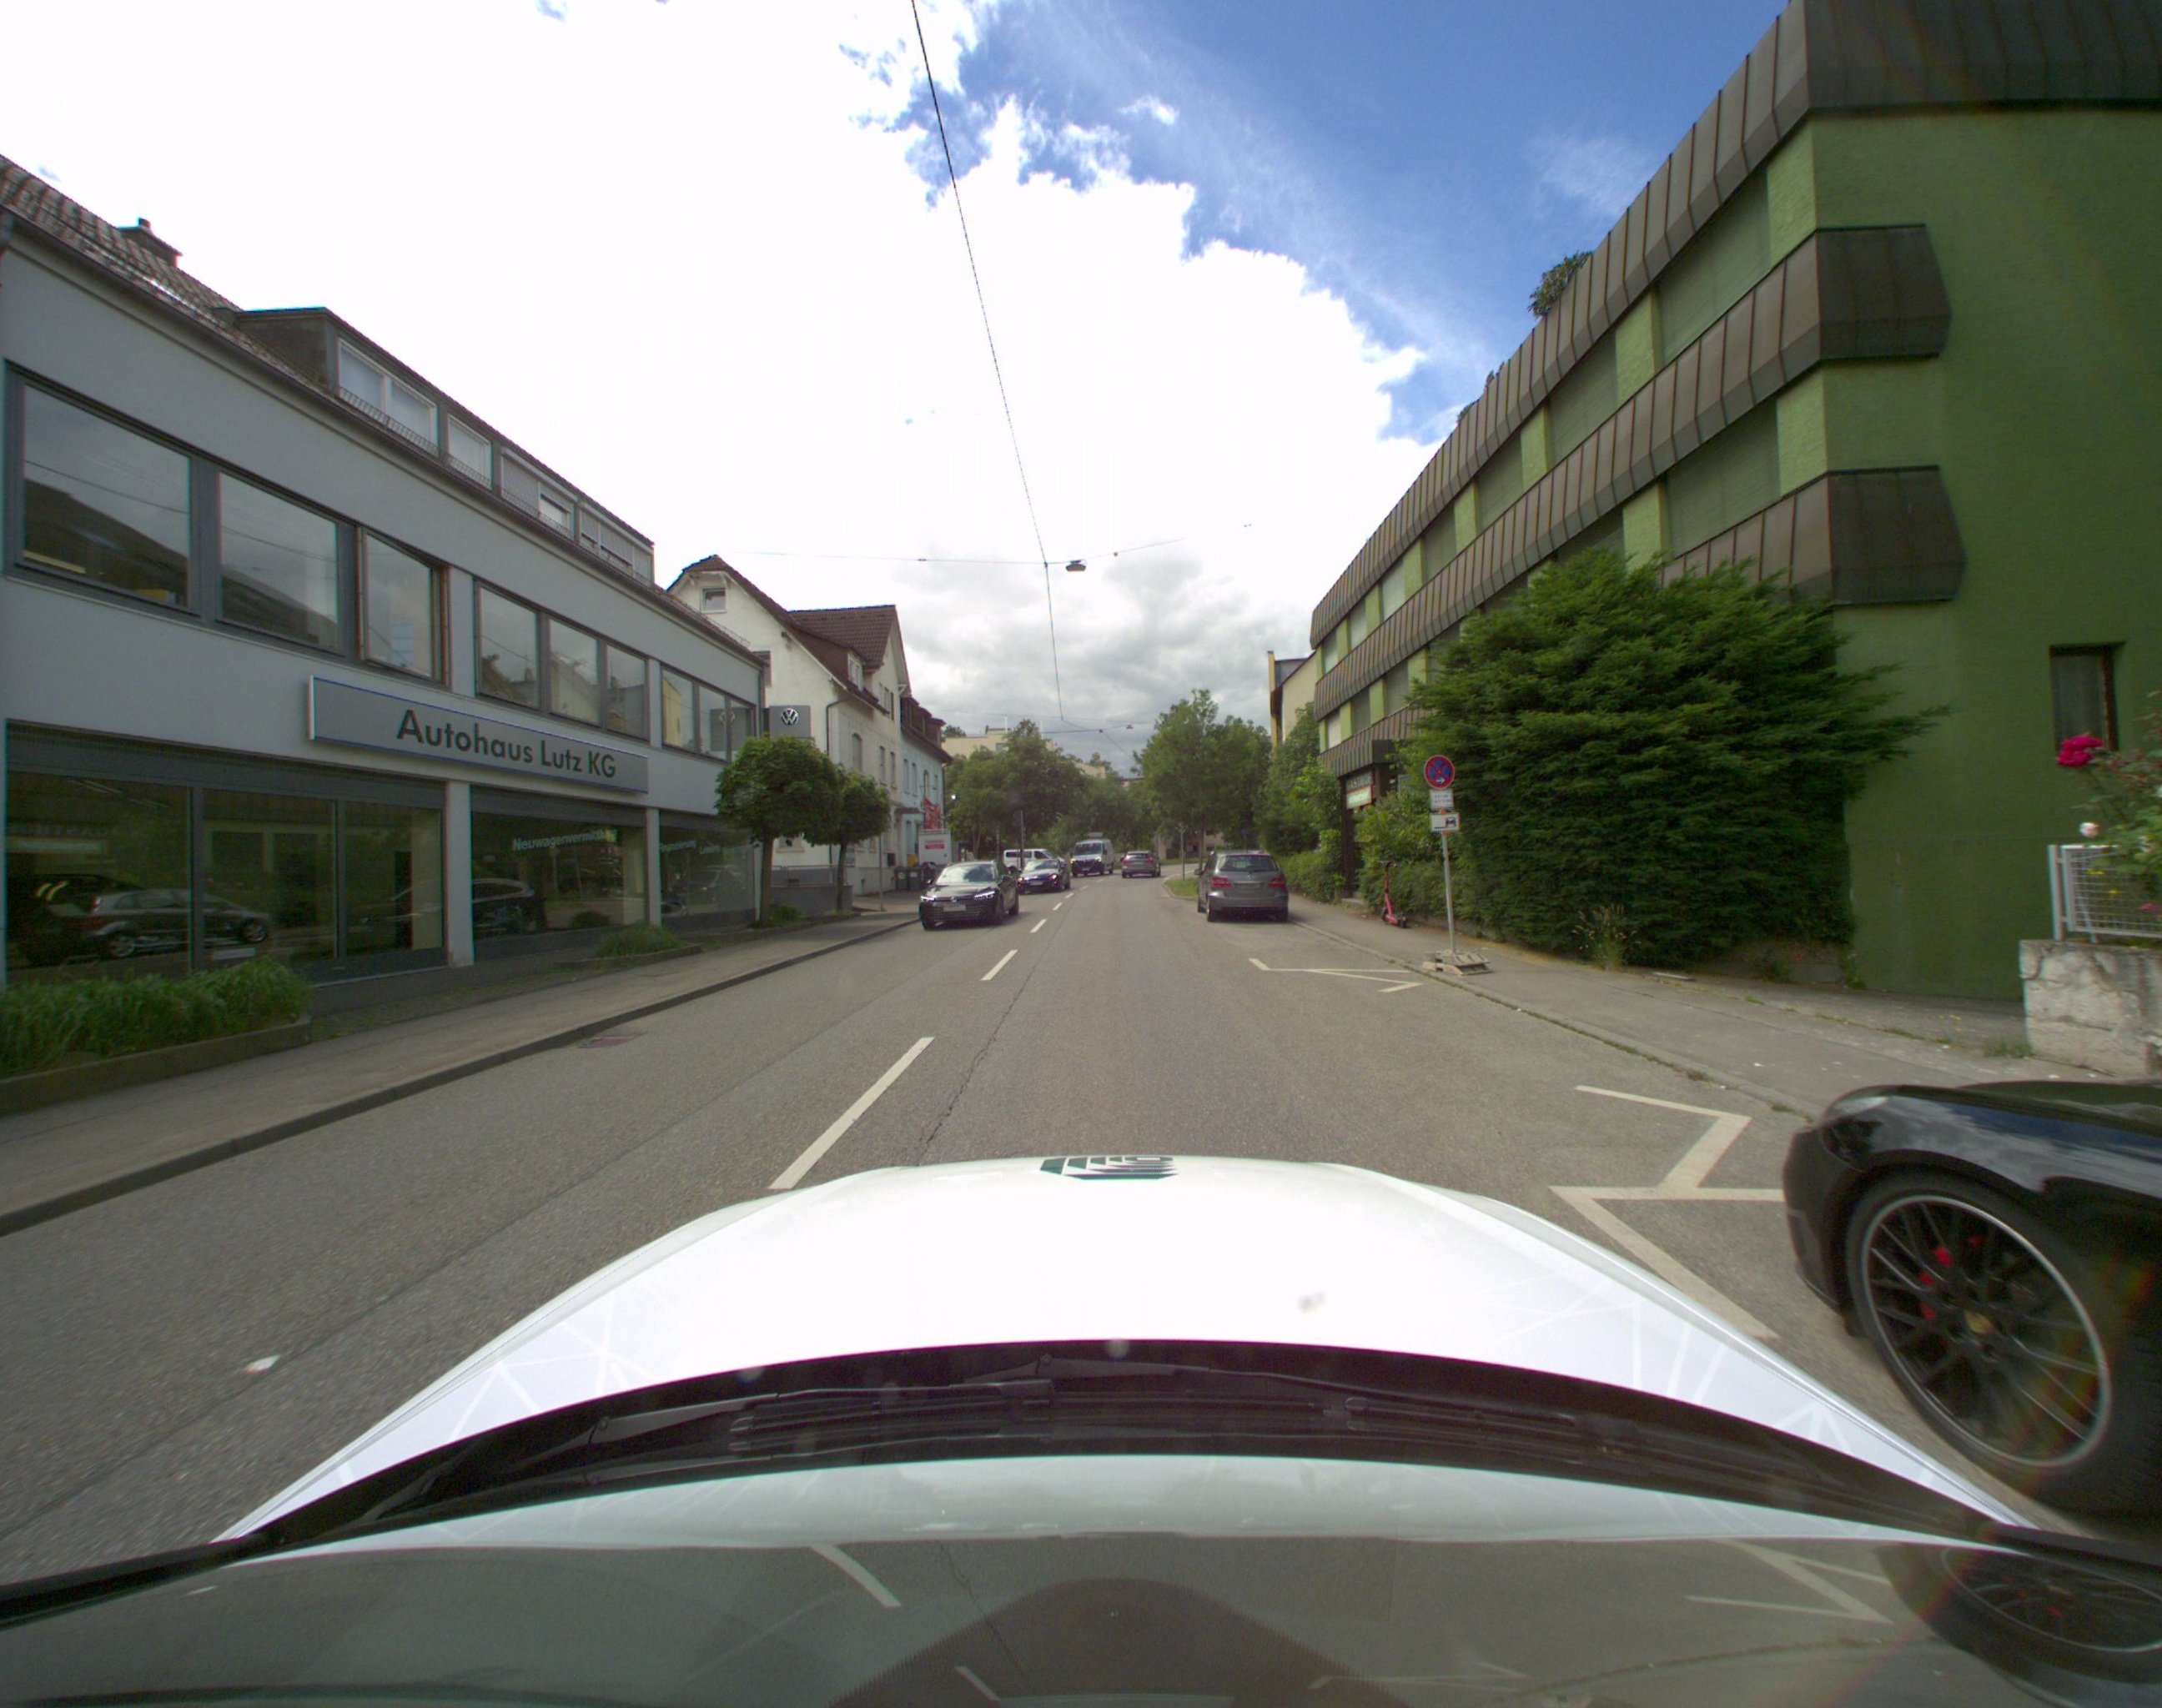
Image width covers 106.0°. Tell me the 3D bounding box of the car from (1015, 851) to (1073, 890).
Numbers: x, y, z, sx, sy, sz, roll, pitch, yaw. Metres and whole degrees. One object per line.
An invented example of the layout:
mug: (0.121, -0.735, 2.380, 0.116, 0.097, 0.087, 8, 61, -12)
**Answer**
car: (-1.496, 0.652, 34.194, 1.761, 1.425, 4.116, -3, 0, 6)

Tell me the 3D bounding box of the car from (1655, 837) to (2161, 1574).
car: (3.077, 0.663, 0.645, 1.977, 1.448, 4.753, -2, -1, 2)

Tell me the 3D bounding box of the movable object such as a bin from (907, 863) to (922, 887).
movable object such as a bin: (-7.653, 0.965, 37.489, 0.563, 1.101, 0.562, 0, -1, -3)

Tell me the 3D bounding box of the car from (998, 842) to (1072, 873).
car: (-3.572, 0.255, 62.843, 5.168, 1.993, 2.119, -4, 0, 20)

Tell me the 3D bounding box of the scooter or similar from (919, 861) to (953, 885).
scooter or similar: (-7.258, 0.967, 40.798, 1.547, 1.184, 0.546, 0, -1, 2)

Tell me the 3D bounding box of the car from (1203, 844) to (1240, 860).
car: (13.573, -0.212, 78.495, 1.787, 1.523, 4.357, 2, 2, 35)

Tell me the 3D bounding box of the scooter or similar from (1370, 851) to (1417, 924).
scooter or similar: (5.986, 0.605, 15.644, 0.299, 1.305, 1.405, -4, 0, 2)

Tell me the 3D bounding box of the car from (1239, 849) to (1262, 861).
car: (23.075, 0.116, 110.720, 1.787, 1.616, 4.355, 2, 0, 29)

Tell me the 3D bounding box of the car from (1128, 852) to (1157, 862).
car: (9.214, 0.412, 122.473, 4.045, 1.400, 1.802, -1, -4, 17)

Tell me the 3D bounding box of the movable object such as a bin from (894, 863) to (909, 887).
movable object such as a bin: (-8.264, 0.965, 37.453, 0.563, 1.101, 0.562, 0, -1, -3)

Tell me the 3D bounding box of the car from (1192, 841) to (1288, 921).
car: (3.697, 0.545, 19.604, 1.682, 1.666, 4.467, -2, 1, 4)

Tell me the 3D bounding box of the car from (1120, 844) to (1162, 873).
car: (3.397, 0.272, 45.468, 1.944, 1.523, 4.339, -1, -1, 9)

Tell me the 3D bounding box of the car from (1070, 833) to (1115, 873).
car: (0.831, -0.095, 52.832, 2.051, 2.353, 5.196, -4, 0, 9)

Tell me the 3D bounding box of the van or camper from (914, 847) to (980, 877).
van or camper: (-9.187, 0.543, 56.181, 1.767, 1.994, 4.407, -2, -1, 37)

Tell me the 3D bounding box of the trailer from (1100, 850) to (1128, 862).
trailer: (4.990, 0.320, 123.702, 3.877, 1.799, 1.637, -1, -4, 15)

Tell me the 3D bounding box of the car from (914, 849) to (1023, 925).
car: (-2.621, 0.741, 19.983, 1.769, 1.523, 4.464, -5, -1, 2)

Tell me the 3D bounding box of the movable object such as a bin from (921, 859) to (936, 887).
movable object such as a bin: (-7.029, 0.868, 37.500, 0.563, 1.273, 0.562, 0, 0, -3)
